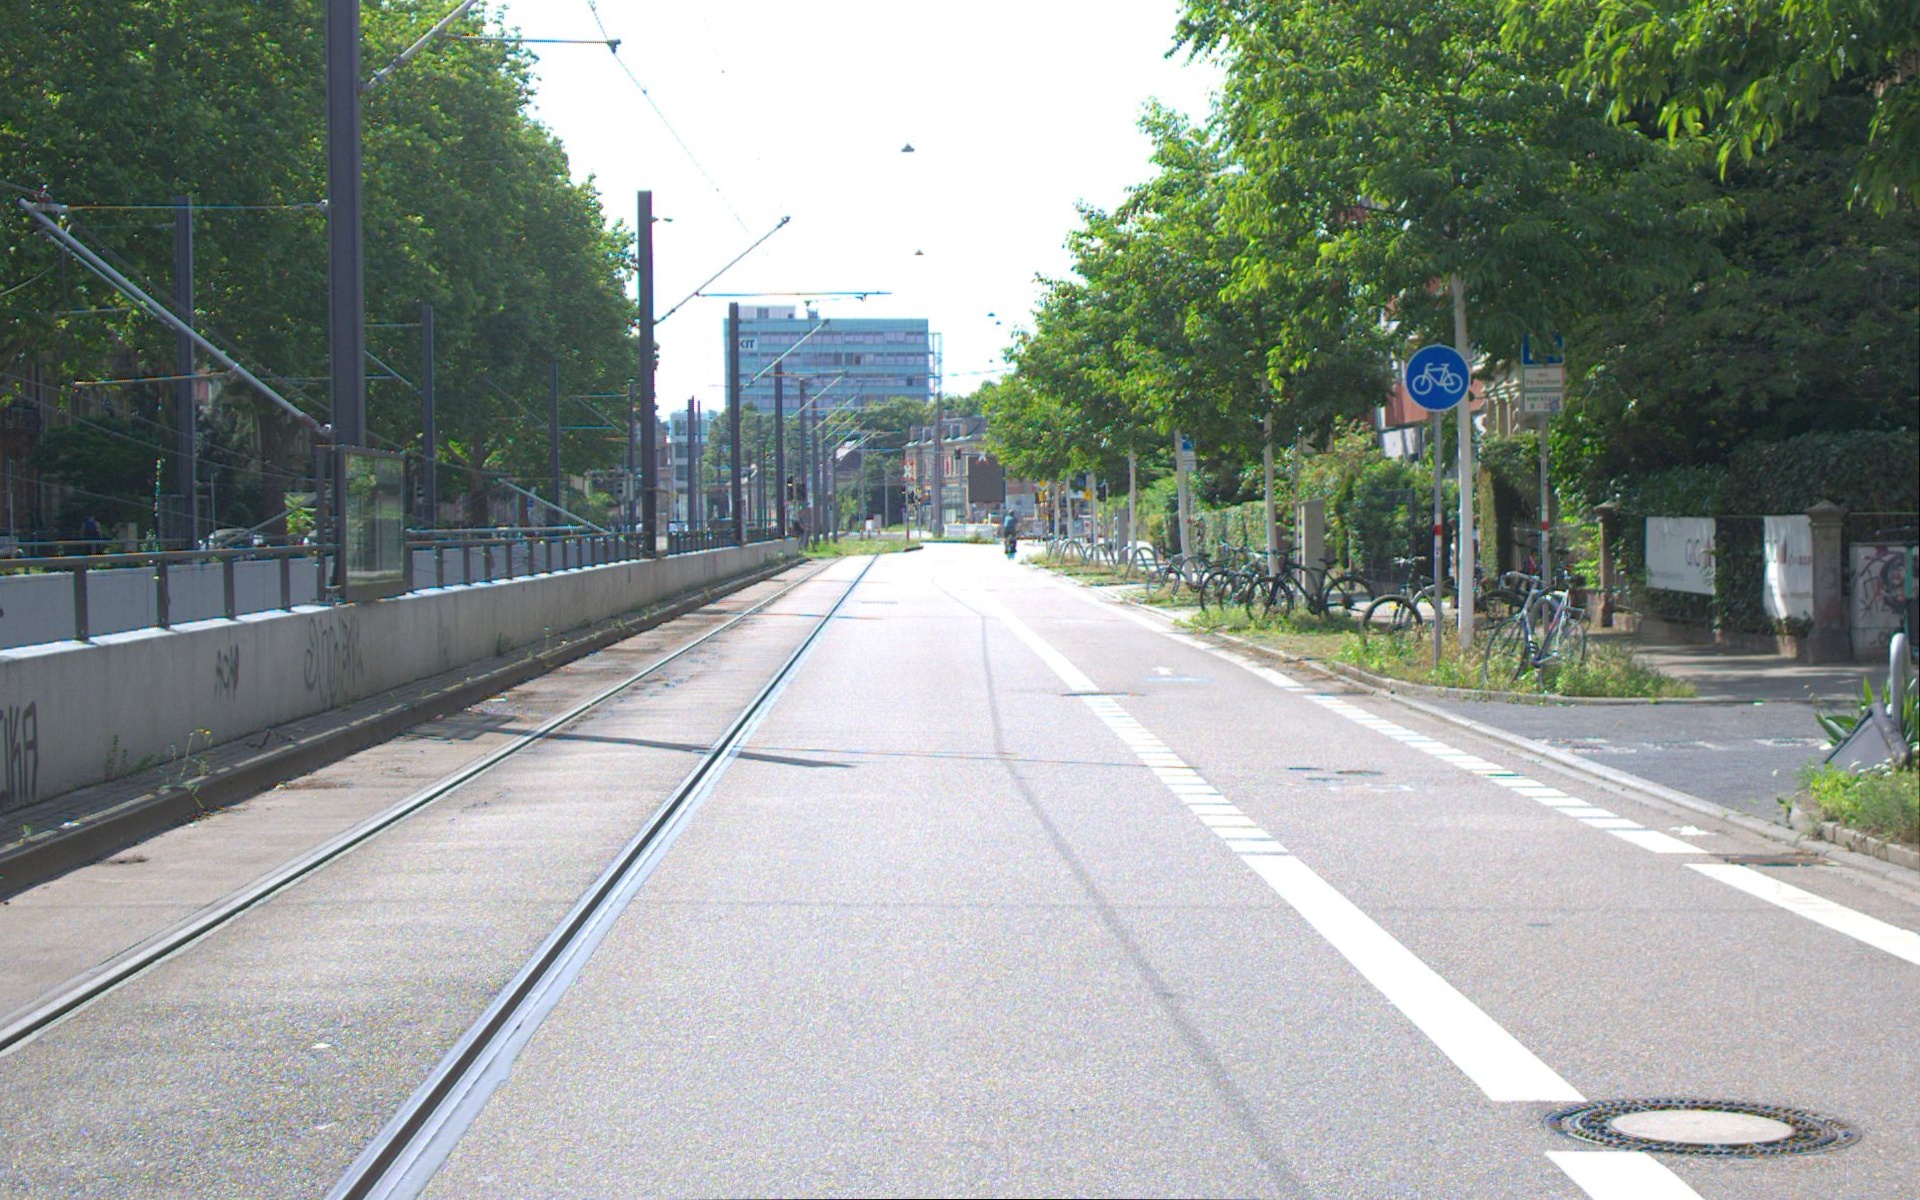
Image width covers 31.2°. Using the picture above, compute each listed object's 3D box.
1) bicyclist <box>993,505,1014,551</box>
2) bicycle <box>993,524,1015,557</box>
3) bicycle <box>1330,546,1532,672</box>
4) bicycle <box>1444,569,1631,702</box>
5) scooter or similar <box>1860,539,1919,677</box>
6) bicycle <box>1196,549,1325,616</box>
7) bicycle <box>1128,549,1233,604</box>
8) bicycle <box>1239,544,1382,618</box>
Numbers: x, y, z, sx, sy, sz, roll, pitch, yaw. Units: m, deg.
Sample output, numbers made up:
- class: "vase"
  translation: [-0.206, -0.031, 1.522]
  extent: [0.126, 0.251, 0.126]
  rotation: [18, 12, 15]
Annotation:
- class: "bicyclist"
  translation: [1.676, -2.769, 132.121]
  extent: [0.770, 1.724, 1.026]
  rotation: [0, 1, 0]
- class: "bicycle"
  translation: [1.678, -2.307, 132.236]
  extent: [0.799, 1.232, 2.778]
  rotation: [0, 1, 0]
- class: "bicycle"
  translation: [4.656, 0.079, 34.029]
  extent: [1.815, 1.141, 0.652]
  rotation: [-3, 2, -11]
- class: "bicycle"
  translation: [4.830, 0.280, 28.857]
  extent: [0.649, 1.035, 1.822]
  rotation: [-3, 2, -22]
- class: "scooter or similar"
  translation: [8.359, 0.053, 30.184]
  extent: [0.461, 1.154, 1.573]
  rotation: [-2, 1, 0]
- class: "bicycle"
  translation: [4.504, -0.264, 51.604]
  extent: [1.816, 0.899, 0.604]
  rotation: [-3, 2, -4]
- class: "bicycle"
  translation: [4.024, -0.438, 62.866]
  extent: [1.816, 0.899, 0.604]
  rotation: [-3, 2, -4]
- class: "bicycle"
  translation: [4.754, -0.262, 46.668]
  extent: [1.816, 0.899, 0.652]
  rotation: [-3, 2, -4]
